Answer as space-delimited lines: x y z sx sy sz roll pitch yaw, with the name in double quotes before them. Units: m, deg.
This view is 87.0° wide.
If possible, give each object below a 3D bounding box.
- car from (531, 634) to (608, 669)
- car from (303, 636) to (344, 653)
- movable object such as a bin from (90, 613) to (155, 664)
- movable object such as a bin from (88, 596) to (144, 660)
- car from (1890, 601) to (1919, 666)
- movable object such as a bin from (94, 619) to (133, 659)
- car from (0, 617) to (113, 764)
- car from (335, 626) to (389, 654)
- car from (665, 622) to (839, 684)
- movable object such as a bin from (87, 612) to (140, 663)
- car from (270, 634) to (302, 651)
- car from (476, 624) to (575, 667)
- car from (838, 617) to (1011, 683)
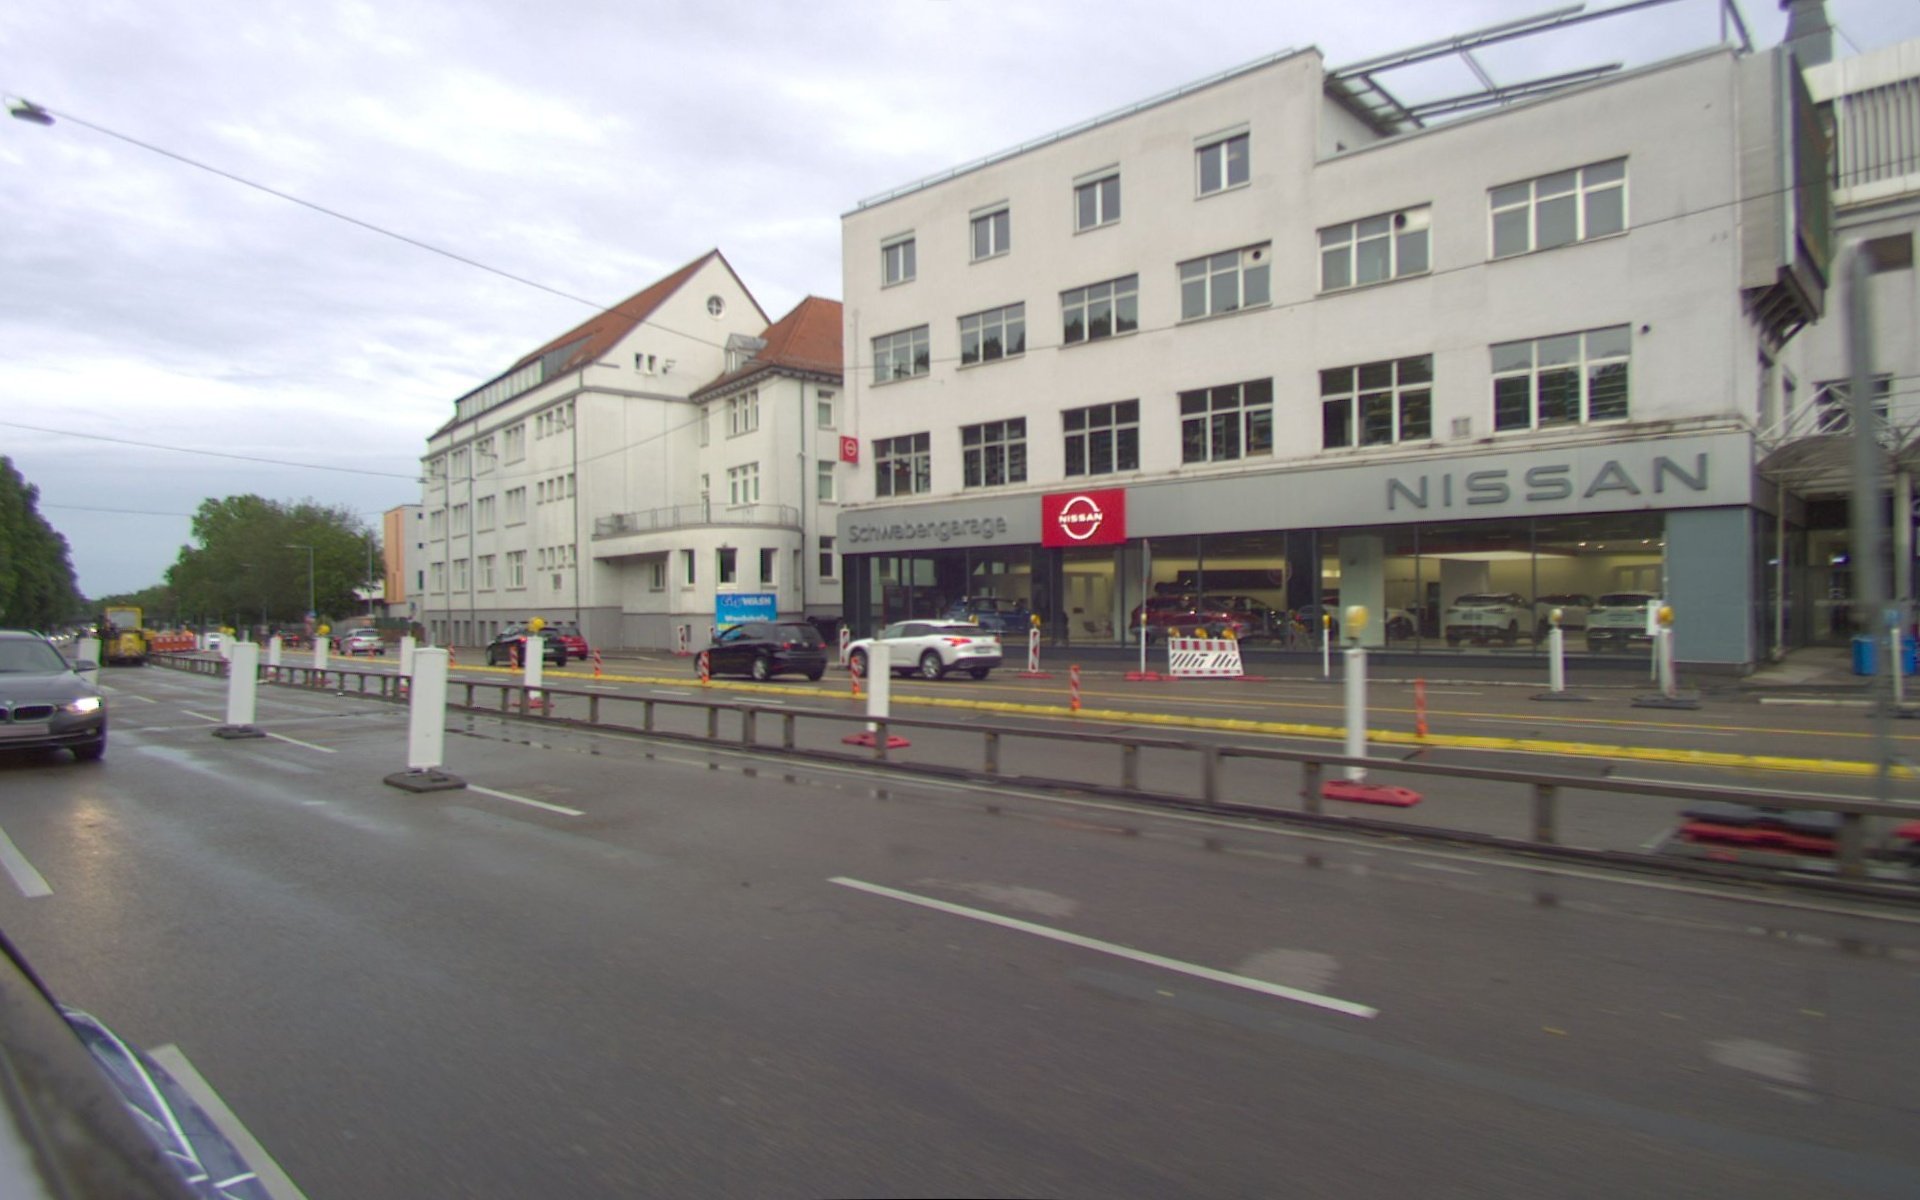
"car" -16.932 2.203 43.860 3.710 1.425 1.714 -1 -2 44
"car" -51.056 3.552 81.153 4.001 1.392 1.837 -2 -3 44
"movable object such as a bin" -36.756 1.686 44.399 1.969 2.128 3.853 1 -3 -43
"movable object such as a bin" -39.885 1.350 47.800 1.800 2.935 3.611 2 -3 -43
"car" 23.872 0.776 22.988 3.966 1.494 1.794 -1 -2 42
"movable object such as a bin" -45.269 2.105 54.101 1.379 2.060 4.090 1 -3 -43
"car" -11.210 0.963 11.495 4.174 1.461 1.741 -2 -2 40
"car" -33.281 2.200 56.261 1.681 1.475 4.121 3 -4 -43
"car" -5.238 1.250 25.128 4.812 1.362 1.778 -1 -2 43
"movable object such as a bin" -48.839 2.140 58.384 2.096 2.860 4.483 1 -2 -43
"car" -65.767 4.153 98.745 1.969 1.597 4.216 1 -2 -42
"car" -15.141 1.537 35.177 3.805 1.397 1.778 -1 -2 43
"car" -0.980 1.190 25.646 4.523 1.519 1.763 -1 -2 44
